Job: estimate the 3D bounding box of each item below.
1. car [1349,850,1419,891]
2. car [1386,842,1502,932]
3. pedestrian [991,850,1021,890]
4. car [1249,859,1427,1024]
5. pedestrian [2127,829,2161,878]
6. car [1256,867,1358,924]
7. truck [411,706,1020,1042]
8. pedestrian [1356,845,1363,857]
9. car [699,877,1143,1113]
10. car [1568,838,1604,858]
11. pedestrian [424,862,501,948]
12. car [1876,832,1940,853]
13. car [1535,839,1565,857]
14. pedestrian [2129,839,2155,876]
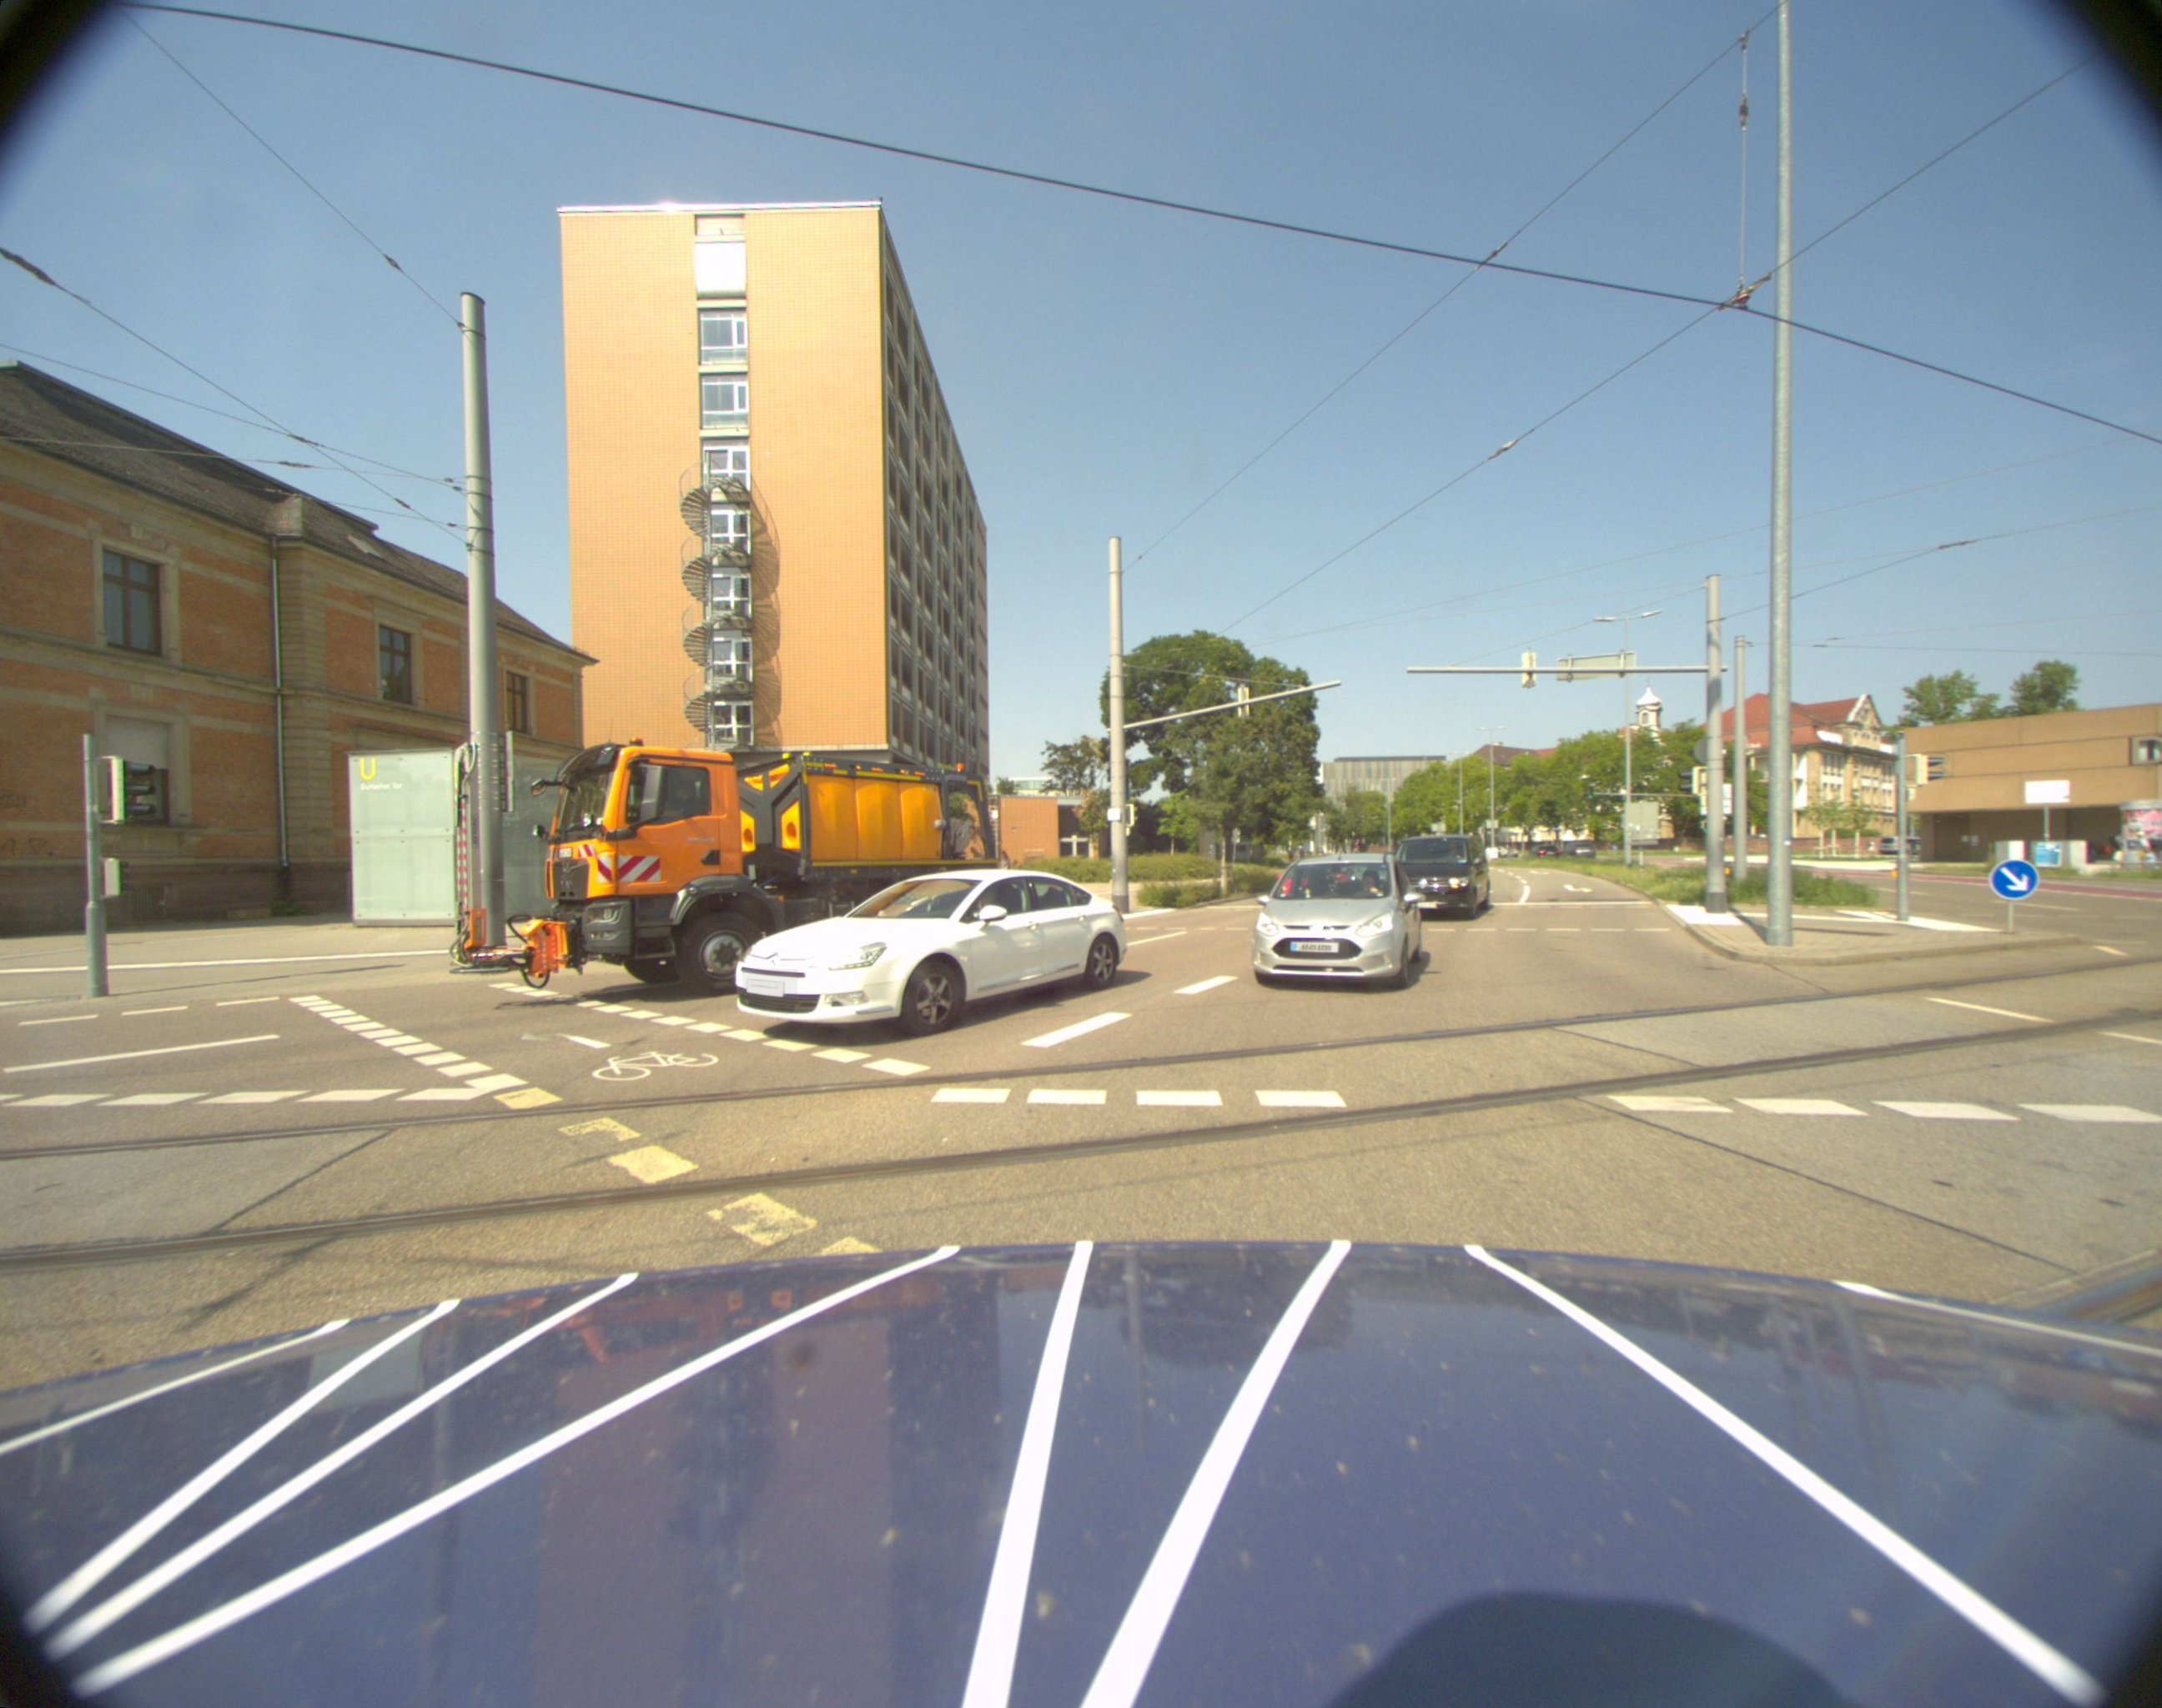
[{"bbox_3d":[11.205,0.575,27.967,1.513,1.331,3.515,-2,0,36],"label":"car"},{"bbox_3d":[9.064,0.693,18.723,1.895,1.919,4.895,-1,0,34],"label":"car"},{"bbox_3d":[-2.709,0.576,27.363,0.785,1.387,0.849,-1,1,16],"label":"pedestrian"},{"bbox_3d":[3.606,0.917,10.106,1.688,1.586,4.368,0,1,26],"label":"car"},{"bbox_3d":[39.846,-0.015,28.491,0.559,1.805,0.562,0,1,33],"label":"pedestrian"},{"bbox_3d":[6.450,1.112,21.530,1.513,1.400,3.366,-1,0,40],"label":"car"},{"bbox_3d":[-4.611,0.183,10.962,3.034,3.210,7.205,-2,-1,42],"label":"truck"},{"bbox_3d":[43.789,-0.495,119.596,0.966,1.775,1.119,-1,1,22],"label":"pedestrian"},{"bbox_3d":[-1.279,1.131,8.024,1.767,1.609,4.612,-2,-1,34],"label":"car"},{"bbox_3d":[44.008,-0.524,66.297,1.898,1.643,4.664,-1,1,24],"label":"car"},{"bbox_3d":[-12.268,0.985,15.110,0.951,1.600,0.791,-2,3,-24],"label":"pedestrian"},{"bbox_3d":[79.422,-1.100,73.003,3.997,1.958,2.000,-1,1,1],"label":"car"},{"bbox_3d":[40.323,-0.528,65.366,1.676,1.511,3.711,-1,1,23],"label":"car"},{"bbox_3d":[39.366,0.130,28.191,0.460,1.367,0.350,0,1,33],"label":"pedestrian"}]
